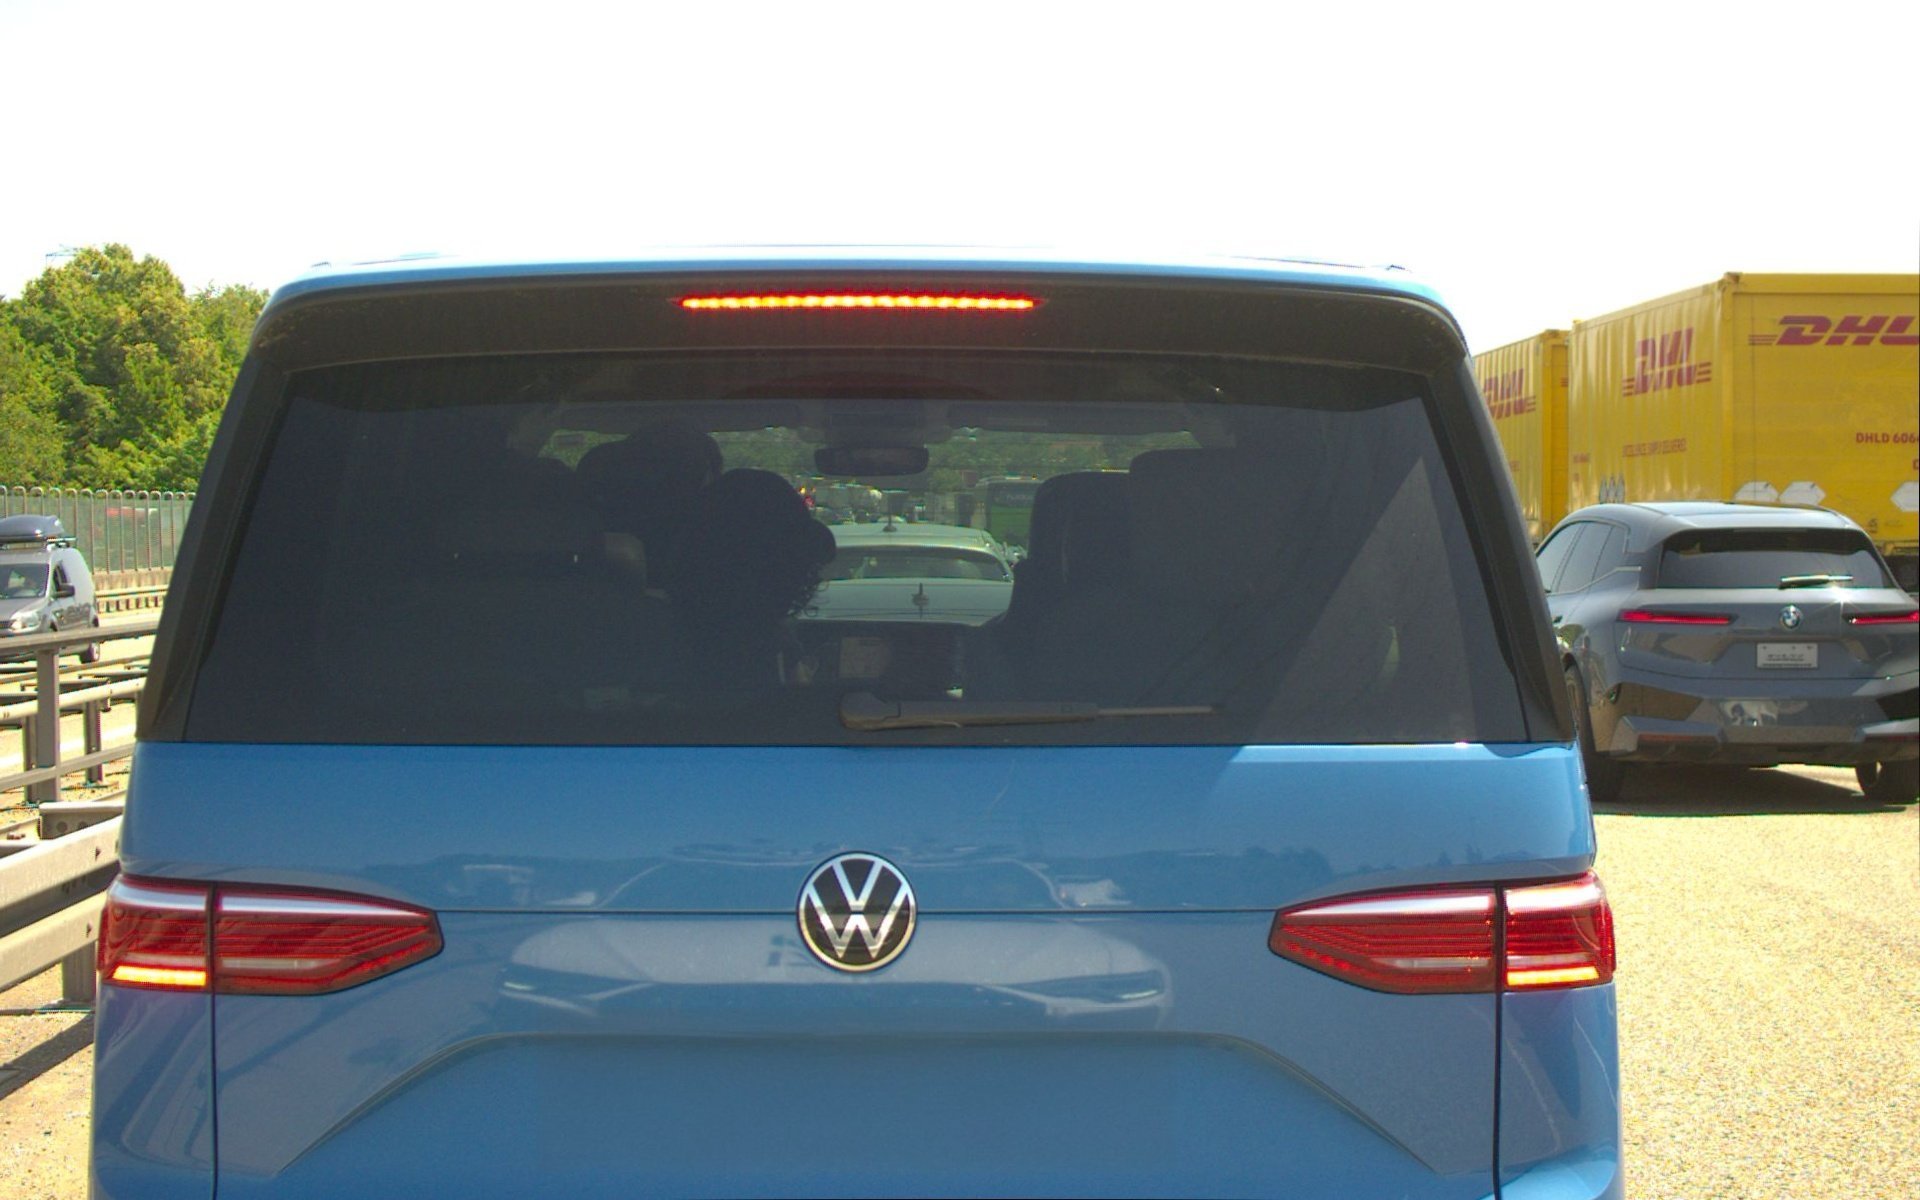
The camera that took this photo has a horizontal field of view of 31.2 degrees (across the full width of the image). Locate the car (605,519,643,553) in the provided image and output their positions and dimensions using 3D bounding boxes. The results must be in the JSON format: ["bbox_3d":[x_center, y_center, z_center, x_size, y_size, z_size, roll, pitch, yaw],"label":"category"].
[{"bbox_3d":[-22.563,-4.285,230.706,2.082,2.142,4.312,-2,1,0],"label":"car"}]

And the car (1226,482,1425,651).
[{"bbox_3d":[4.469,-0.442,42.645,1.962,1.986,4.293,0,1,-1],"label":"car"}]

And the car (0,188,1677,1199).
[{"bbox_3d":[-0.193,0.473,5.617,1.820,1.851,4.075,1,1,0],"label":"car"}]

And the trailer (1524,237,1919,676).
[{"bbox_3d":[8.454,-1.449,37.831,2.864,4.224,9.012,1,1,-1],"label":"trailer"}]

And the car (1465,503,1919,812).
[{"bbox_3d":[4.318,0.260,20.392,1.962,1.639,4.293,0,1,-1],"label":"car"}]

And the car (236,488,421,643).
[{"bbox_3d":[-9.330,-0.538,51.112,1.863,2.123,4.268,-3,1,0],"label":"car"}]

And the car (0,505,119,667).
[{"bbox_3d":[-13.648,-0.201,49.520,1.993,2.208,4.268,-3,1,-1],"label":"car"}]

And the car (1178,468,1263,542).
[{"bbox_3d":[7.298,-2.657,96.802,1.993,2.007,4.461,-1,1,0],"label":"car"}]

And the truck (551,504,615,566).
[{"bbox_3d":[-20.270,-3.476,185.194,2.518,3.100,8.724,-4,1,-1],"label":"truck"}]

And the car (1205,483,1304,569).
[{"bbox_3d":[7.065,-1.774,82.779,1.993,2.007,4.000,1,1,0],"label":"car"}]

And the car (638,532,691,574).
[{"bbox_3d":[-10.914,-1.754,127.136,1.619,1.459,3.702,-2,1,0],"label":"car"}]

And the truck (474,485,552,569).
[{"bbox_3d":[-18.918,-3.095,145.813,2.497,3.354,5.834,-2,1,-1],"label":"truck"}]

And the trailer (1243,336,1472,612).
[{"bbox_3d":[6.992,-2.189,62.048,2.637,4.501,11.302,1,1,-1],"label":"trailer"}]

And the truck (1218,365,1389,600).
[{"bbox_3d":[6.865,-2.307,69.497,2.667,4.469,6.850,1,1,0],"label":"truck"}]

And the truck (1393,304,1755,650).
[{"bbox_3d":[8.256,-1.607,47.844,2.836,4.228,11.011,1,1,-1],"label":"truck"}]
